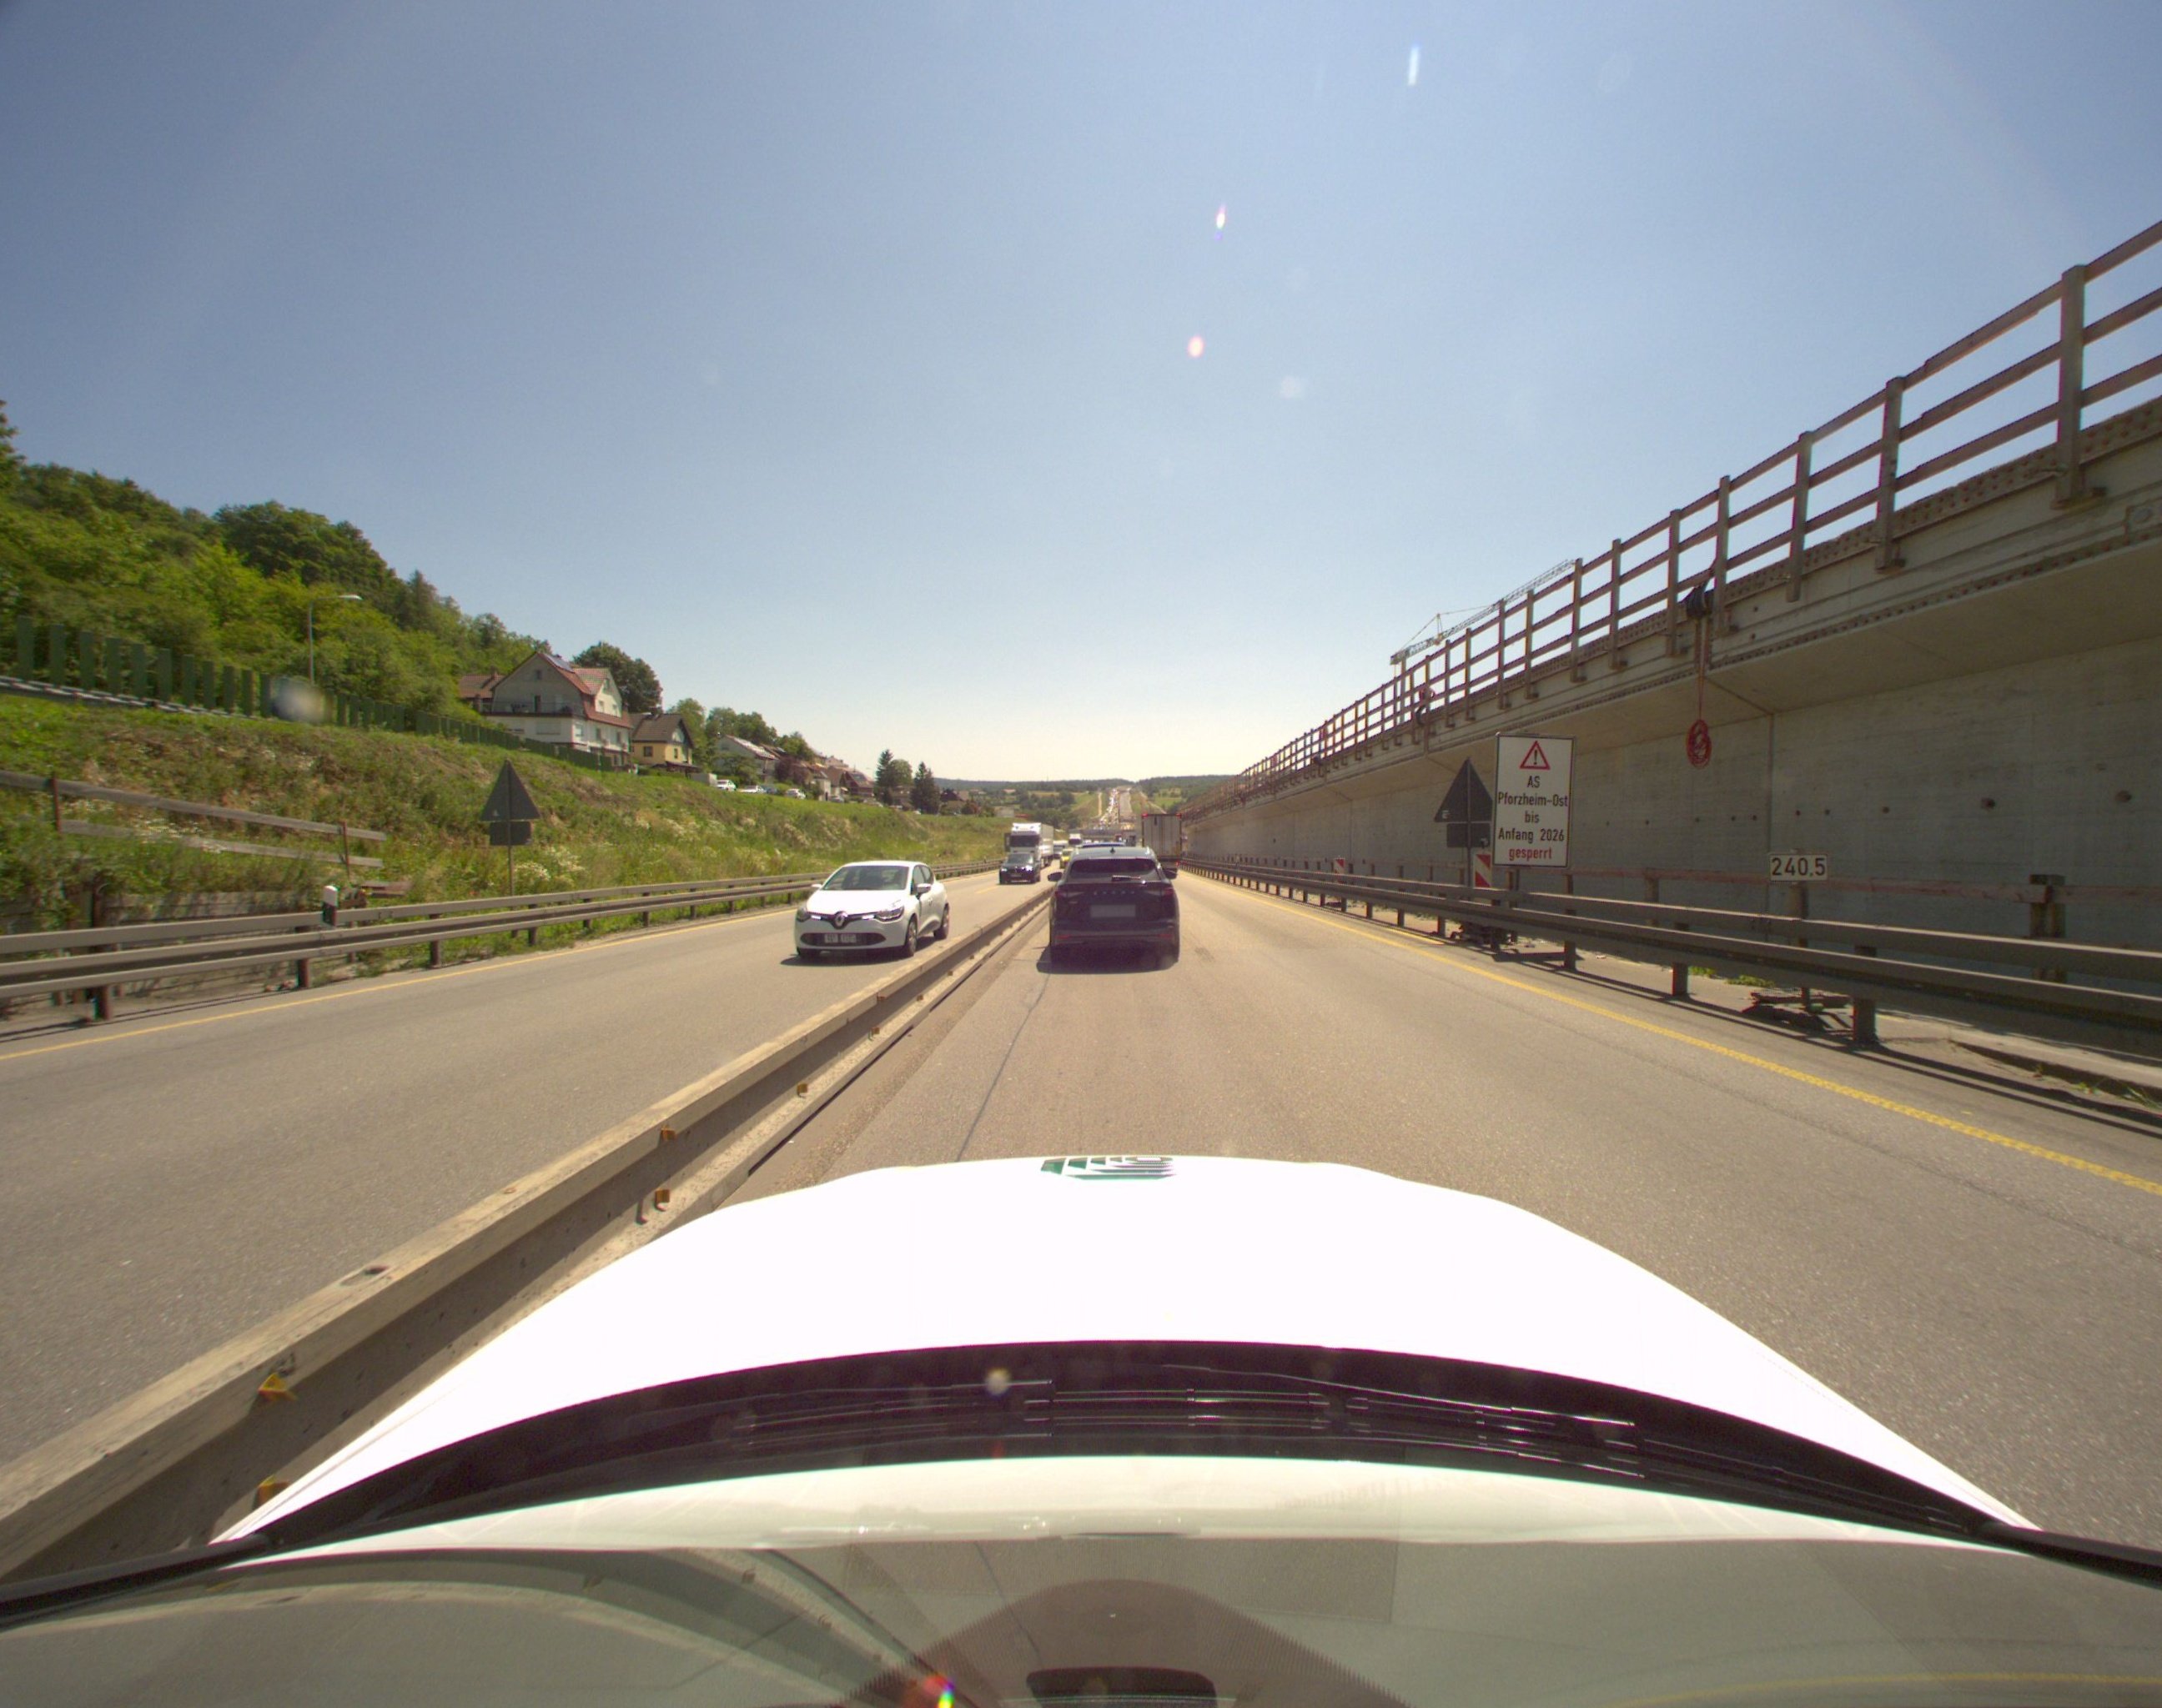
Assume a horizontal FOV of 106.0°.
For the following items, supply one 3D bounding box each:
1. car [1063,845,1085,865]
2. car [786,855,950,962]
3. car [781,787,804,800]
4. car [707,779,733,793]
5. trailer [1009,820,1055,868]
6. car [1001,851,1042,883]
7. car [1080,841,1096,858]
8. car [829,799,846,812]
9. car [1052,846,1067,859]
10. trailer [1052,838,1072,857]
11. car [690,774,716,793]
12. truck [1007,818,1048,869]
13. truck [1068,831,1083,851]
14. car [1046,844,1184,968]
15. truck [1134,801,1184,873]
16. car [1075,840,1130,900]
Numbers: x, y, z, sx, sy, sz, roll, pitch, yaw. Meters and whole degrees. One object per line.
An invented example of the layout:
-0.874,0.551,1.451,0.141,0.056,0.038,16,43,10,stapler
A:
-0.607,0.072,74.371,1.769,1.820,4.435,0,0,2,car
-3.311,0.773,13.399,1.685,1.486,3.749,-1,0,0,car
-37.451,-7.856,105.797,1.993,1.319,3.987,3,-1,-9,car
-34.723,-6.539,78.436,1.277,1.039,3.270,-1,0,-4,car
-4.500,-0.886,77.765,3.209,4.158,13.411,-1,0,1,trailer
-3.024,0.649,42.049,1.694,1.561,4.104,-1,0,1,car
0.927,-0.545,101.301,1.856,2.014,4.807,0,-1,2,car
-37.457,-7.423,125.497,1.924,1.728,3.988,-1,0,-9,car
-2.892,-0.215,111.793,1.740,1.585,4.001,3,-1,2,car
-2.704,-0.901,120.303,2.475,2.613,5.871,-2,-1,3,trailer
-34.287,-6.391,73.950,1.732,1.398,3.778,1,0,-18,car
-4.608,-0.843,71.163,3.170,4.238,6.483,0,-1,0,truck
-1.222,-2.789,175.398,2.742,4.227,8.105,0,0,3,truck
0.468,0.677,12.477,1.776,1.597,3.755,0,0,1,car
5.385,-1.030,58.108,2.835,4.615,11.817,0,-1,2,truck
0.700,0.520,28.444,1.744,1.895,3.754,2,0,-1,car
